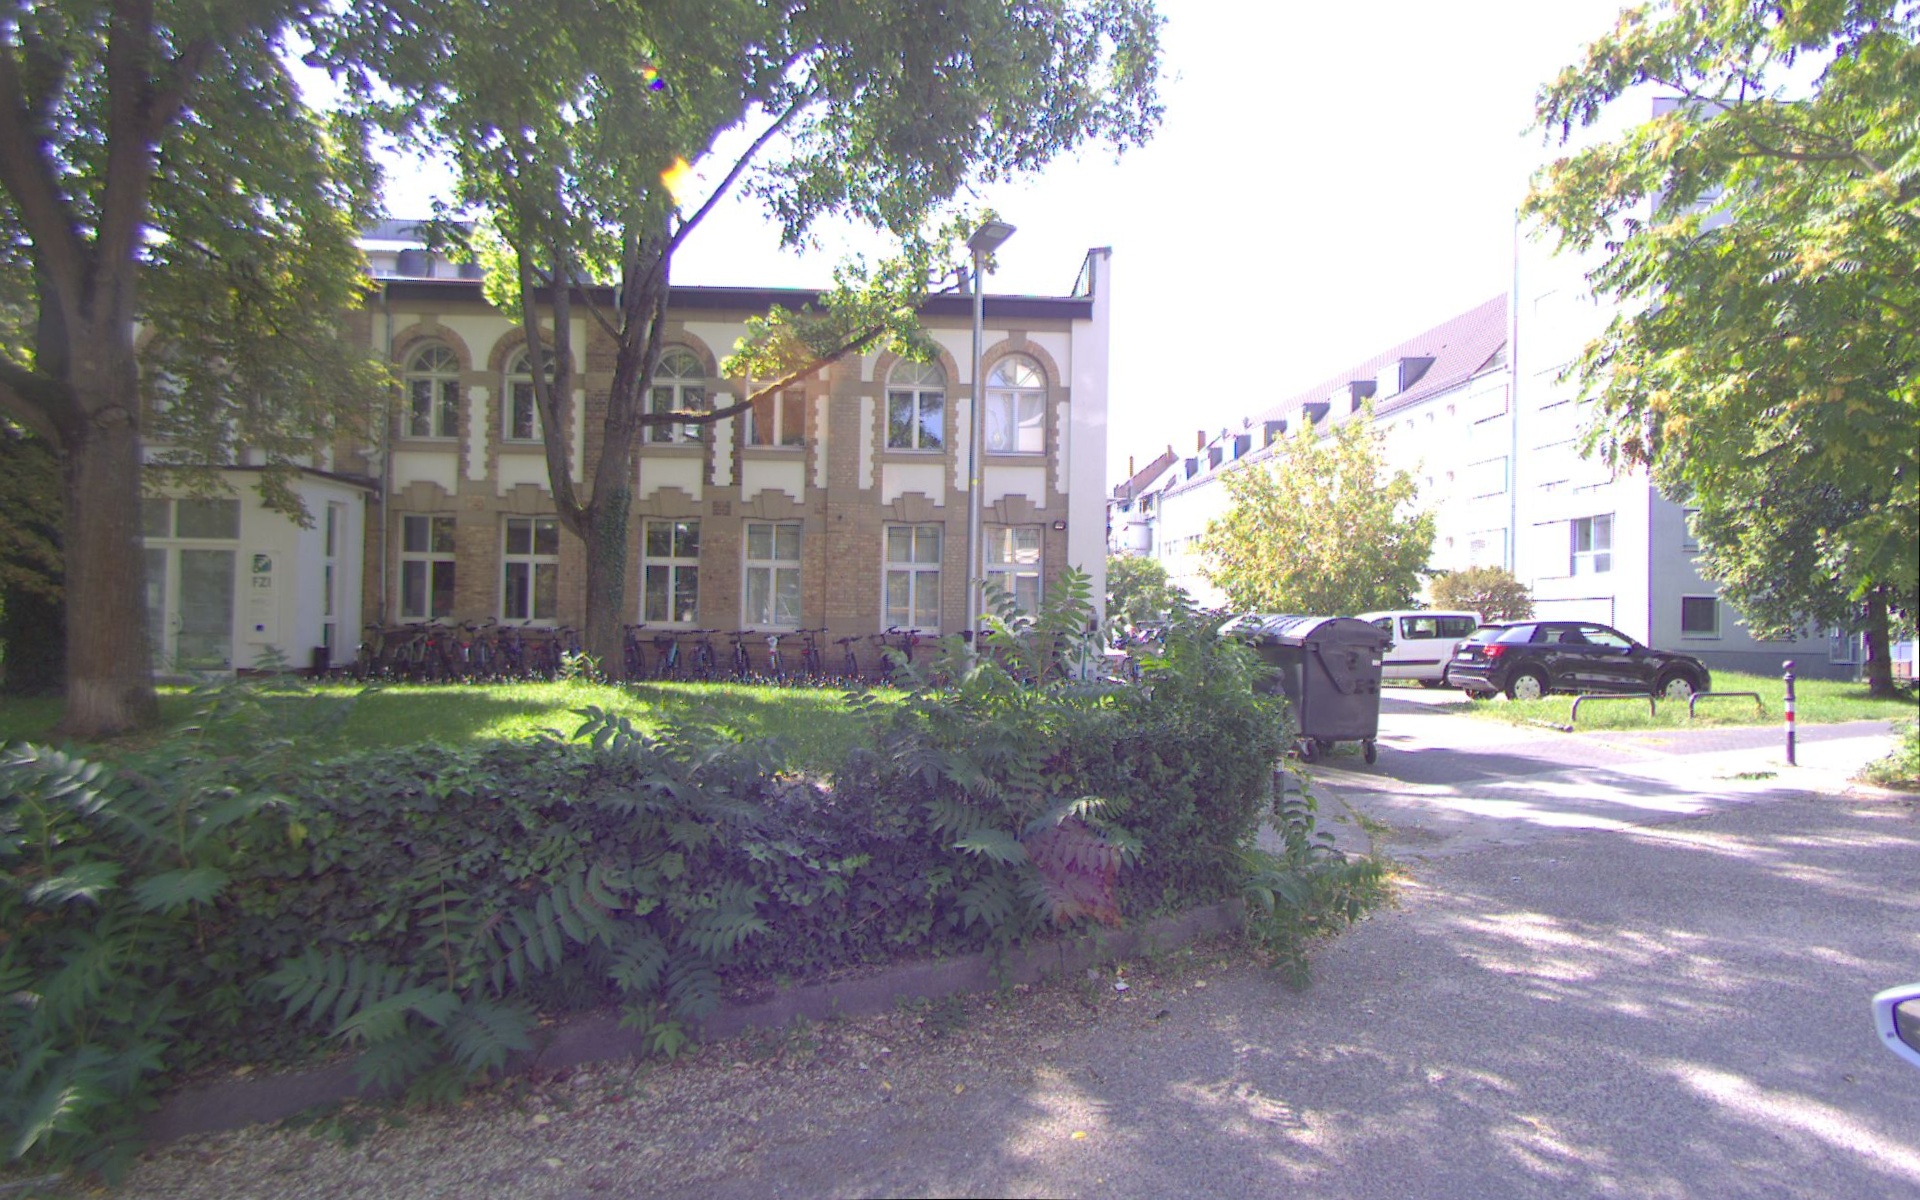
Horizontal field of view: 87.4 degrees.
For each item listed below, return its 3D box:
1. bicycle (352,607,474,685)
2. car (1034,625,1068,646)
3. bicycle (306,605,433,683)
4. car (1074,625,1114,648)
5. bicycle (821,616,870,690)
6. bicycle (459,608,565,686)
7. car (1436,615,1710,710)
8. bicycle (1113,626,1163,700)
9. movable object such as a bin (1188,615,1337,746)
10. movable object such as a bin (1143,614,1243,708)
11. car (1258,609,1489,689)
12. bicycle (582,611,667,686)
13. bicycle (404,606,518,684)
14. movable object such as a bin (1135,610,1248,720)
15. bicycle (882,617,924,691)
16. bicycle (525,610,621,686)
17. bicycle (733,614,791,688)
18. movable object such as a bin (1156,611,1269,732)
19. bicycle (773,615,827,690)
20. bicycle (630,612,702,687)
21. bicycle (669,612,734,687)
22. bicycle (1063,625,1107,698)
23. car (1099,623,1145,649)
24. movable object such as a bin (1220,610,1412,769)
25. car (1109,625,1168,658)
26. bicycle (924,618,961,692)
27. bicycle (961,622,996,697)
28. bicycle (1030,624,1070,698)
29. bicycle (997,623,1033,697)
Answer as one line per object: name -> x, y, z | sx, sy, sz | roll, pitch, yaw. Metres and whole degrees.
bicycle -> -9.925, 0.827, 18.371 | 0.756, 1.319, 2.527 | 1, -2, 1
car -> 6.934, 2.737, 76.678 | 1.766, 1.530, 3.996 | 1, -2, -7
bicycle -> -10.795, 0.808, 18.511 | 0.756, 1.319, 2.527 | 1, -2, 1
car -> 9.242, 2.508, 69.460 | 1.766, 1.530, 3.996 | 1, -2, -7
bicycle -> -2.147, 0.992, 19.101 | 0.597, 1.320, 2.174 | 1, -2, 1
bicycle -> -8.248, 0.861, 18.652 | 0.756, 1.319, 2.527 | 1, -2, 1
car -> 10.855, 1.081, 17.992 | 3.833, 1.548, 1.708 | 1, -1, 4
bicycle -> 3.339, 1.165, 19.027 | 0.597, 1.320, 2.174 | 1, -2, 1
movable object such as a bin -> 3.573, 0.924, 12.005 | 1.227, 1.451, 1.330 | 1, -1, -9
movable object such as a bin -> 3.774, 0.971, 16.384 | 1.227, 1.463, 1.205 | 1, -1, -8
car -> 10.650, 1.243, 26.223 | 4.984, 1.906, 2.503 | 1, -1, 0
bicycle -> -6.300, 0.907, 18.988 | 0.756, 1.320, 2.274 | 1, -2, 1
bicycle -> -9.135, 0.827, 18.528 | 0.756, 1.319, 2.527 | 1, -2, 1
movable object such as a bin -> 3.350, 0.920, 14.642 | 1.227, 1.515, 1.205 | 1, 0, -8
bicycle -> -1.063, 1.004, 19.068 | 0.597, 1.320, 2.174 | 1, -2, 1
bicycle -> -7.245, 0.889, 18.961 | 0.756, 1.319, 2.527 | 1, -2, 1
bicycle -> -3.753, 0.963, 19.233 | 0.597, 1.320, 2.174 | 1, -2, 1
movable object such as a bin -> 3.299, 0.914, 13.217 | 1.081, 1.501, 1.100 | 1, 0, -8
bicycle -> -3.000, 0.982, 19.055 | 0.597, 1.320, 2.174 | 1, -2, 1
bicycle -> -5.536, 0.925, 19.064 | 0.615, 1.320, 2.274 | 1, -2, 1
bicycle -> -4.887, 0.929, 19.102 | 0.597, 1.320, 2.174 | 1, -2, 1
bicycle -> 2.372, 1.153, 19.238 | 0.597, 1.320, 2.174 | 1, -2, 1
car -> 10.033, 2.250, 62.310 | 1.766, 1.530, 3.996 | 1, -2, -7
movable object such as a bin -> 3.648, 0.875, 10.412 | 1.314, 1.513, 1.368 | 1, -1, -17
car -> 8.739, 2.047, 49.554 | 1.766, 1.530, 3.996 | 1, -2, -7
bicycle -> -0.315, 1.038, 19.218 | 0.597, 1.320, 2.174 | 1, -2, 1
bicycle -> 0.353, 1.107, 19.113 | 0.597, 1.320, 2.174 | 1, -2, 1
bicycle -> 1.701, 1.139, 19.236 | 0.597, 1.320, 2.174 | 1, -2, 1
bicycle -> 1.026, 1.125, 19.220 | 0.597, 1.320, 2.174 | 1, -2, 1
